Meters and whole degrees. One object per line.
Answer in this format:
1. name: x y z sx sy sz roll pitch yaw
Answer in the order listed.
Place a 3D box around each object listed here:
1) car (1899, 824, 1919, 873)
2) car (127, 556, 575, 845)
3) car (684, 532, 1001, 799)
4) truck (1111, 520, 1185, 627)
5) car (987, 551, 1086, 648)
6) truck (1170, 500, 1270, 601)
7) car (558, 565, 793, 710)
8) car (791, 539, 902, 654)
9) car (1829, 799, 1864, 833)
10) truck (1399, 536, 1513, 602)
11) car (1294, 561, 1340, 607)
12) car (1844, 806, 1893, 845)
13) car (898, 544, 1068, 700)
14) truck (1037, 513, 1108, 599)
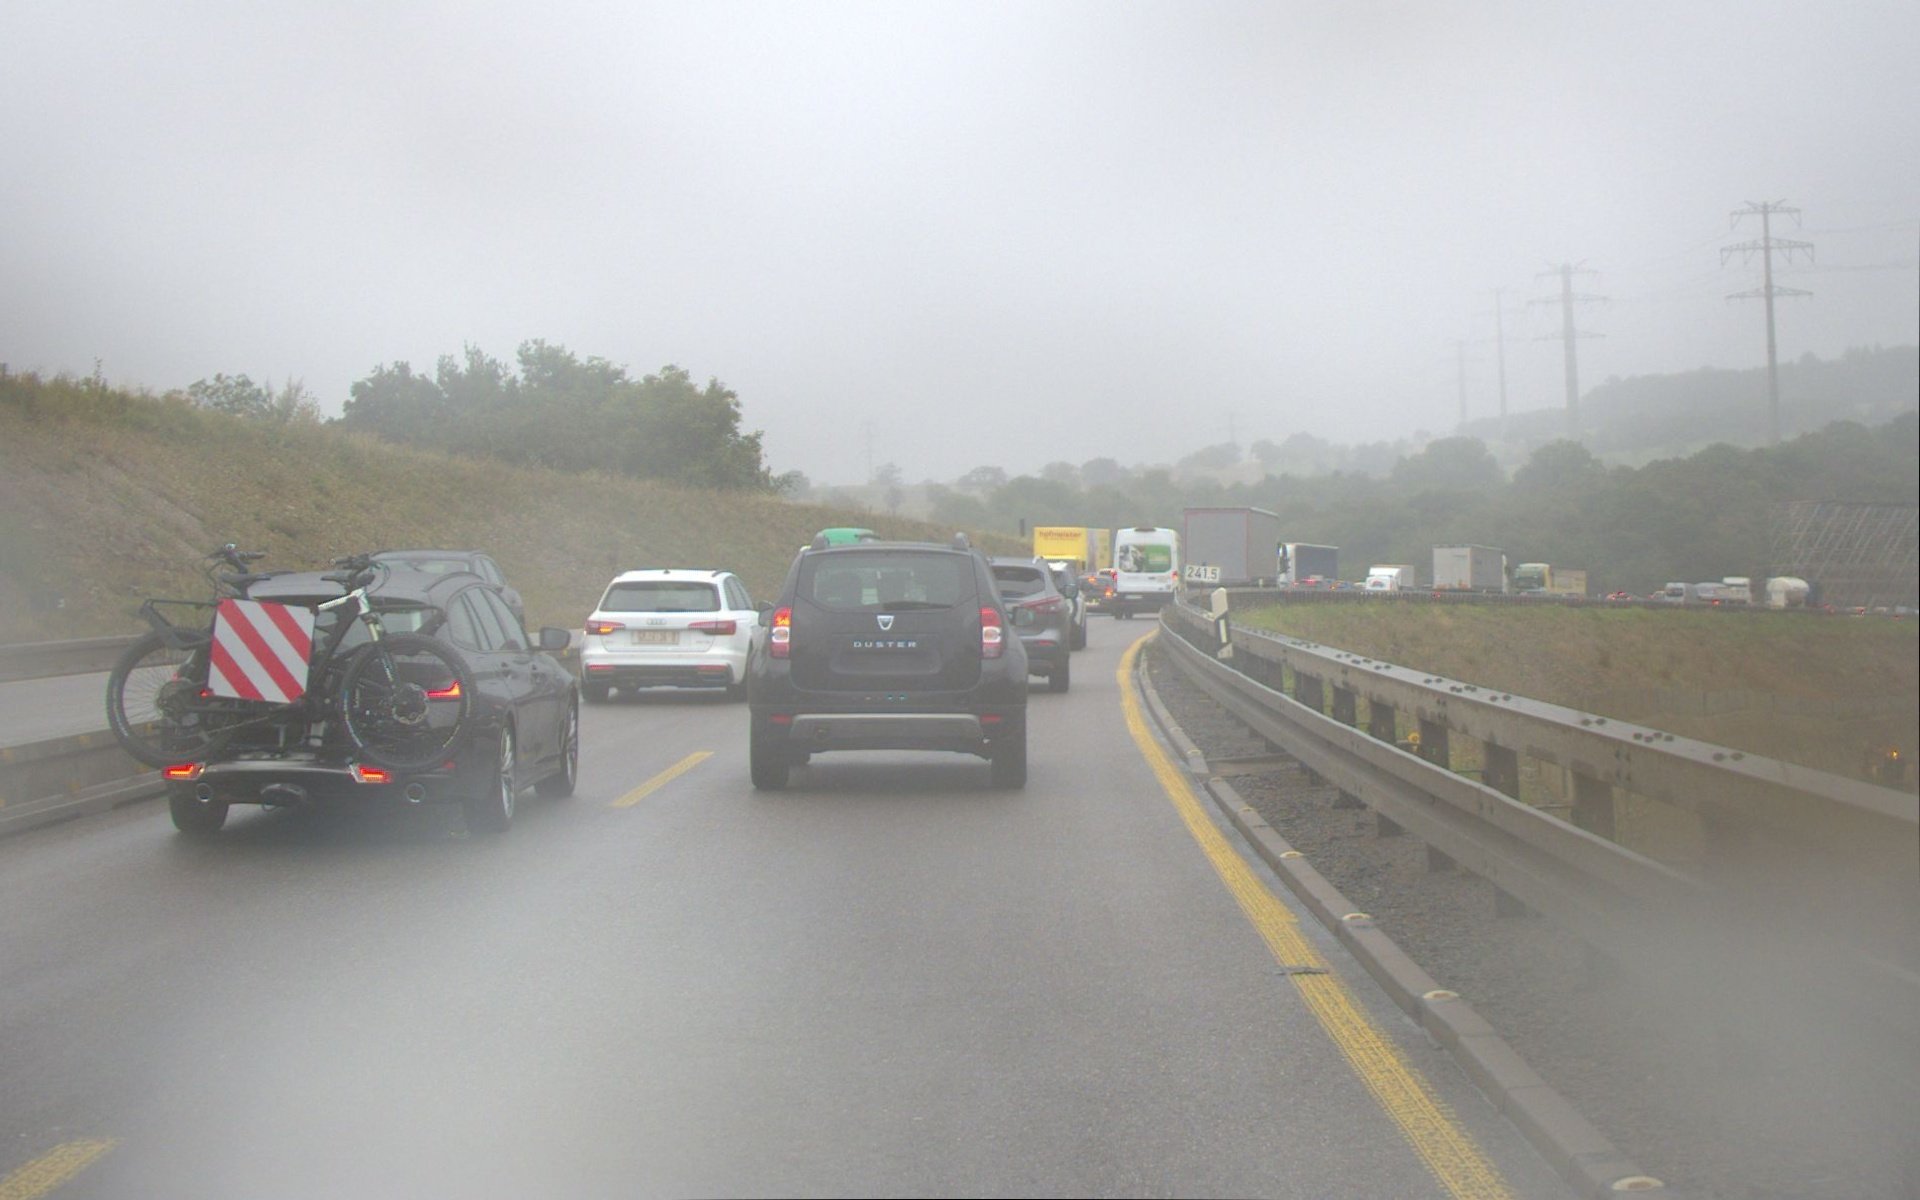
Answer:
1. car: 46.923 12.016 166.027 2.365 2.007 3.999 1 1 5
2. car: -3.332 0.502 19.502 1.829 1.471 3.776 0 0 1
3. car: -0.709 0.392 23.185 1.804 1.640 3.776 0 0 3
4. truck: 5.837 -0.835 106.991 2.149 3.155 6.459 1 1 3
5. car: 1.334 -0.033 61.012 1.530 1.635 4.013 1 1 -1
6. truck: 10.229 -1.927 134.317 3.201 3.748 8.506 1 1 8
7. car: -3.039 0.364 37.681 1.868 1.455 4.548 1 1 4
8. car: -1.910 -0.079 58.919 1.660 1.873 4.020 1 1 1
9. car: 60.170 14.650 233.391 1.995 2.007 3.996 2 1 18
10. truck: 33.325 -2.040 230.128 4.722 4.135 15.668 2 1 19
11. car: 15.522 -0.696 149.320 1.775 1.909 3.999 1 1 8
12. car: 48.622 12.066 184.046 1.994 1.809 3.999 1 0 7
13. car: 0.318 0.222 40.412 1.868 1.703 4.000 1 1 2
14. truck: 5.418 -2.094 164.594 2.769 3.983 8.421 1 1 6
